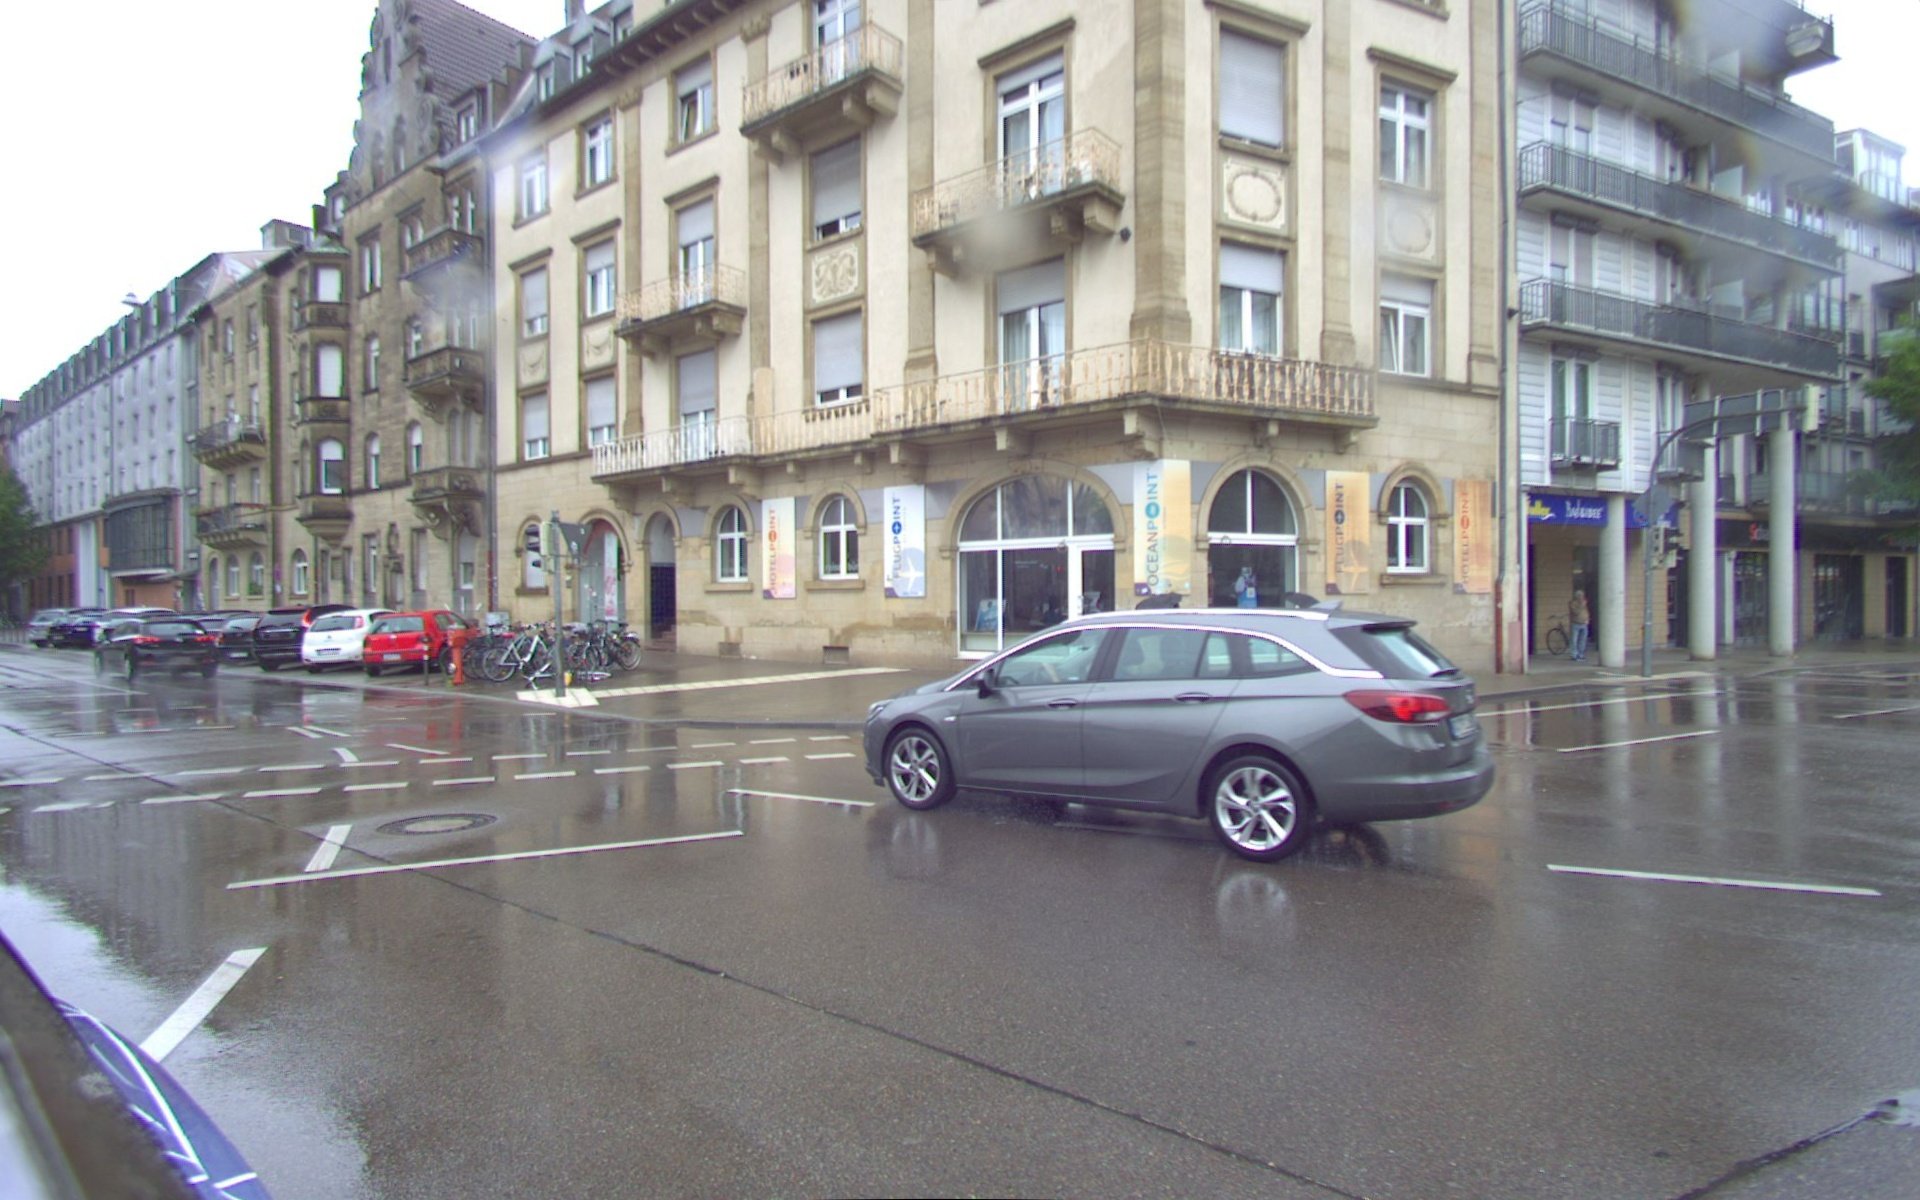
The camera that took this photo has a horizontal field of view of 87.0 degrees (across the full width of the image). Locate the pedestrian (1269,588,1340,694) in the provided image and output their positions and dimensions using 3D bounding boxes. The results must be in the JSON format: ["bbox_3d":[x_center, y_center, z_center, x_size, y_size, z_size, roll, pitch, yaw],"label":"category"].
[{"bbox_3d":[5.669,0.650,16.665,0.731,1.671,0.743,0,4,-31],"label":"pedestrian"}]

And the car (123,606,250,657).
[{"bbox_3d":[-27.045,1.061,35.543,1.605,1.555,3.760,-2,1,-1],"label":"car"}]

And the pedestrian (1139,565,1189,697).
[{"bbox_3d":[3.177,0.456,15.816,0.693,1.980,0.918,2,2,11],"label":"pedestrian"}]

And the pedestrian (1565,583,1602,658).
[{"bbox_3d":[15.264,0.495,24.766,0.601,1.793,0.501,0,0,-26],"label":"pedestrian"}]

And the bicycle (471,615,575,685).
[{"bbox_3d":[-8.908,0.988,20.701,0.437,1.340,1.955,-1,-1,41],"label":"bicycle"}]

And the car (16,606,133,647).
[{"bbox_3d":[-38.807,1.137,44.484,1.790,1.743,3.925,0,-1,-2],"label":"car"}]

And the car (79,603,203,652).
[{"bbox_3d":[-31.866,1.040,39.520,1.754,1.639,3.726,-2,1,1],"label":"car"}]

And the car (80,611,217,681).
[{"bbox_3d":[-19.598,1.044,24.398,3.772,1.558,1.727,0,-1,37],"label":"car"}]

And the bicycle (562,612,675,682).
[{"bbox_3d":[-7.077,0.937,21.105,0.638,1.356,2.320,-1,0,34],"label":"bicycle"}]

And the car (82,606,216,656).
[{"bbox_3d":[-29.622,1.103,37.112,1.756,1.555,3.723,-2,1,4],"label":"car"}]

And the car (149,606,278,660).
[{"bbox_3d":[-24.797,1.059,33.753,1.607,1.555,3.441,-2,1,3],"label":"car"}]

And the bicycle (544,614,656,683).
[{"bbox_3d":[-7.599,0.996,21.482,0.638,1.356,2.320,-1,0,34],"label":"bicycle"}]

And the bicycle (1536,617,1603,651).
[{"bbox_3d":[16.499,0.911,27.406,1.894,0.873,0.583,-1,0,-25],"label":"bicycle"}]

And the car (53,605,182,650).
[{"bbox_3d":[-34.149,1.091,41.166,1.880,1.538,3.719,0,3,8],"label":"car"}]

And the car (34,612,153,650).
[{"bbox_3d":[-36.378,1.265,42.590,1.696,1.539,3.723,0,-1,4],"label":"car"}]

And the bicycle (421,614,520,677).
[{"bbox_3d":[-10.757,0.975,22.297,0.601,1.193,1.790,-1,4,45],"label":"bicycle"}]

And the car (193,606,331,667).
[{"bbox_3d":[-20.256,1.016,29.534,1.678,1.536,3.310,-2,1,1],"label":"car"}]

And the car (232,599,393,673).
[{"bbox_3d":[-17.555,0.916,27.694,1.739,1.704,4.085,-2,1,0],"label":"car"}]

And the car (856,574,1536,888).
[{"bbox_3d":[1.411,0.683,7.078,4.335,1.558,1.709,-1,-1,39],"label":"car"}]

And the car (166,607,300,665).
[{"bbox_3d":[-22.595,1.070,31.601,1.677,1.555,3.430,-2,1,0],"label":"car"}]

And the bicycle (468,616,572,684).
[{"bbox_3d":[-9.125,1.003,21.066,0.474,1.193,1.962,0,4,36],"label":"bicycle"}]

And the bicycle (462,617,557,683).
[{"bbox_3d":[-9.509,1.030,21.426,0.467,1.193,1.794,-1,4,37],"label":"bicycle"}]

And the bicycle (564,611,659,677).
[{"bbox_3d":[-7.618,0.941,22.213,0.583,1.356,2.040,-1,0,33],"label":"bicycle"}]

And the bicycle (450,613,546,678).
[{"bbox_3d":[-9.900,0.951,21.749,0.474,1.193,1.793,-1,4,38],"label":"bicycle"}]

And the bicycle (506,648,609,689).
[{"bbox_3d":[-7.558,1.282,19.061,1.461,0.668,1.040,-1,2,9],"label":"bicycle"}]

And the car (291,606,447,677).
[{"bbox_3d":[-15.136,0.998,26.202,1.680,1.545,3.994,-2,1,0],"label":"car"}]

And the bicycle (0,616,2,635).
[{"bbox_3d":[-53.983,1.447,55.757,0.544,1.081,1.668,-1,2,36],"label":"bicycle"}]

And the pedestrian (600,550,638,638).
[{"bbox_3d":[-9.234,-0.160,27.377,0.834,2.357,0.767,0,0,-28],"label":"pedestrian"}]

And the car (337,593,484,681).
[{"bbox_3d":[-13.105,0.811,24.438,1.775,1.518,4.010,-5,5,-9],"label":"car"}]
